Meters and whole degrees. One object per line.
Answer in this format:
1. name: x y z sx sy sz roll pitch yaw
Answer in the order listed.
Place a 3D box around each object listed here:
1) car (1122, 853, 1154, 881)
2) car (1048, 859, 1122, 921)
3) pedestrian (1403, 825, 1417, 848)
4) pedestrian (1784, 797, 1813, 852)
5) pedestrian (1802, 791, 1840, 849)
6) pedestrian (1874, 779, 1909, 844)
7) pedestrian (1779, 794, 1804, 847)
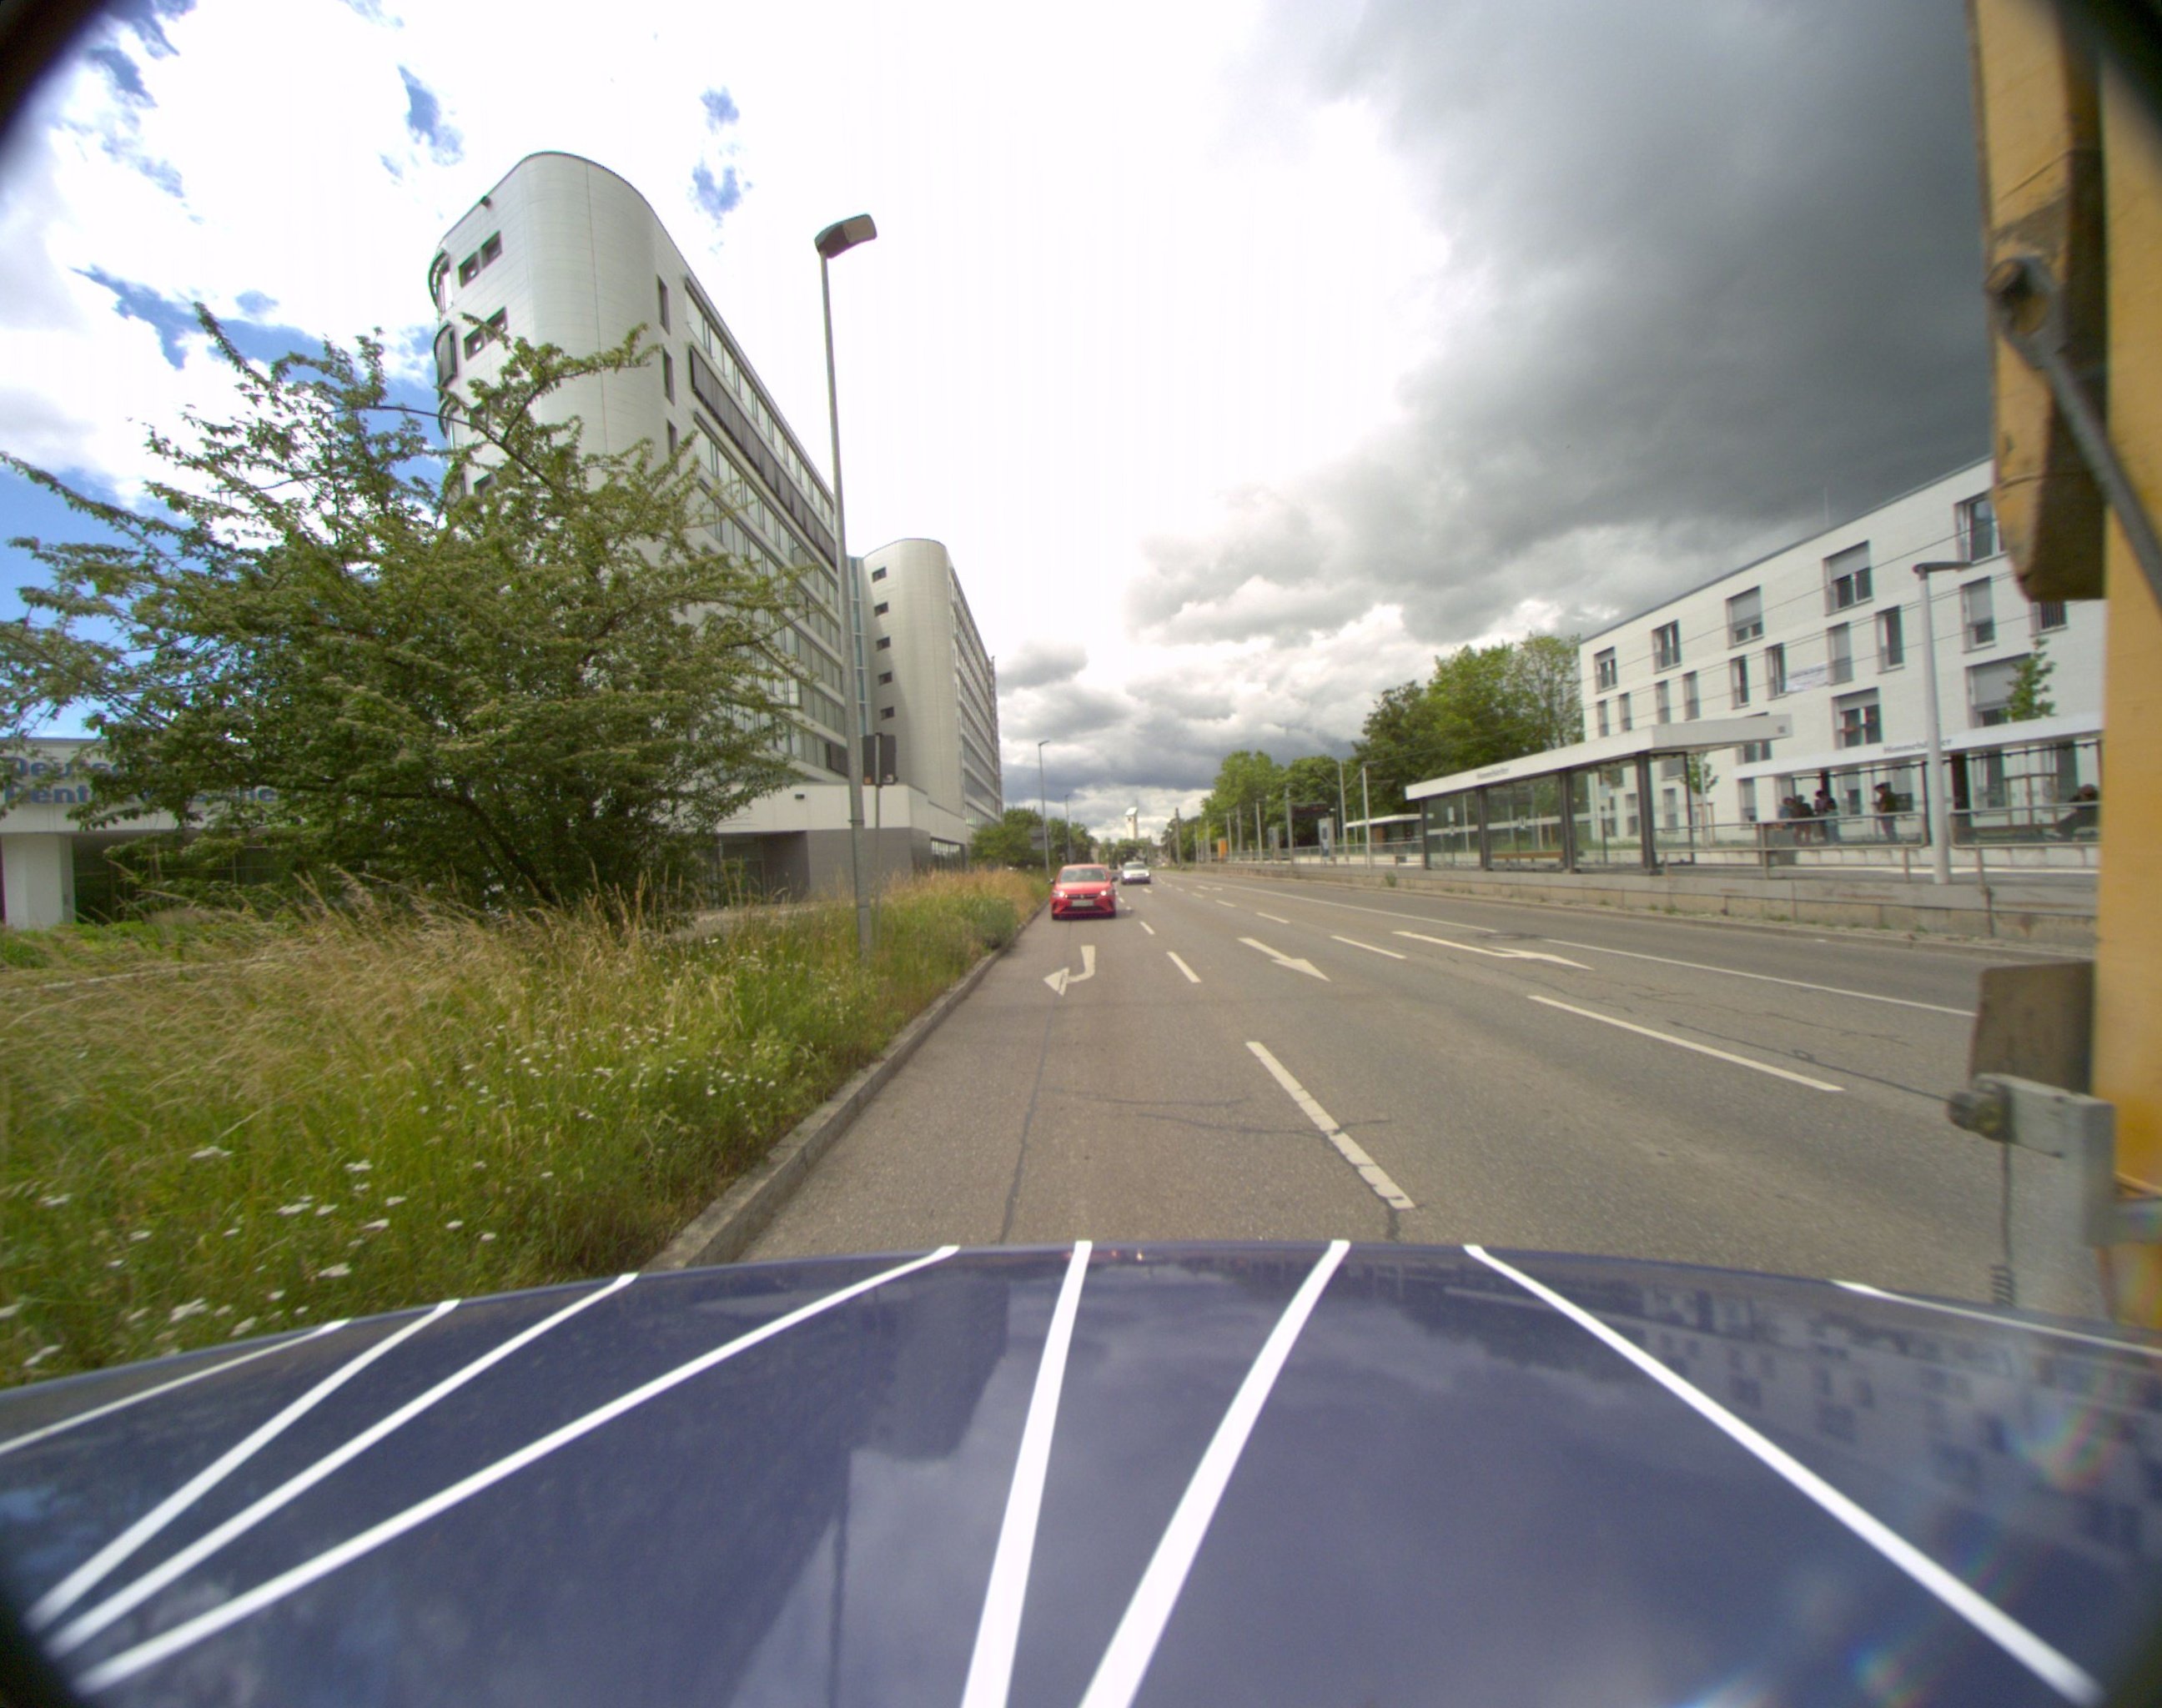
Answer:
1. car: 3.532 0.770 47.453 1.841 1.586 4.001 -3 0 3
2. car: 0.172 0.943 21.828 1.790 1.453 4.853 -3 0 2
3. pedestrian: 22.482 -1.180 51.971 0.742 1.522 0.547 -3 0 15
4. pedestrian: 21.501 -0.871 22.775 0.487 1.587 0.679 -3 0 35
5. pedestrian: 22.533 -1.019 23.125 0.489 1.715 0.676 -4 0 -34
6. pedestrian: 22.667 -1.169 21.256 0.487 1.755 0.679 -3 0 35
7. pedestrian: 22.048 -1.048 23.577 0.487 1.587 0.679 -3 0 43
